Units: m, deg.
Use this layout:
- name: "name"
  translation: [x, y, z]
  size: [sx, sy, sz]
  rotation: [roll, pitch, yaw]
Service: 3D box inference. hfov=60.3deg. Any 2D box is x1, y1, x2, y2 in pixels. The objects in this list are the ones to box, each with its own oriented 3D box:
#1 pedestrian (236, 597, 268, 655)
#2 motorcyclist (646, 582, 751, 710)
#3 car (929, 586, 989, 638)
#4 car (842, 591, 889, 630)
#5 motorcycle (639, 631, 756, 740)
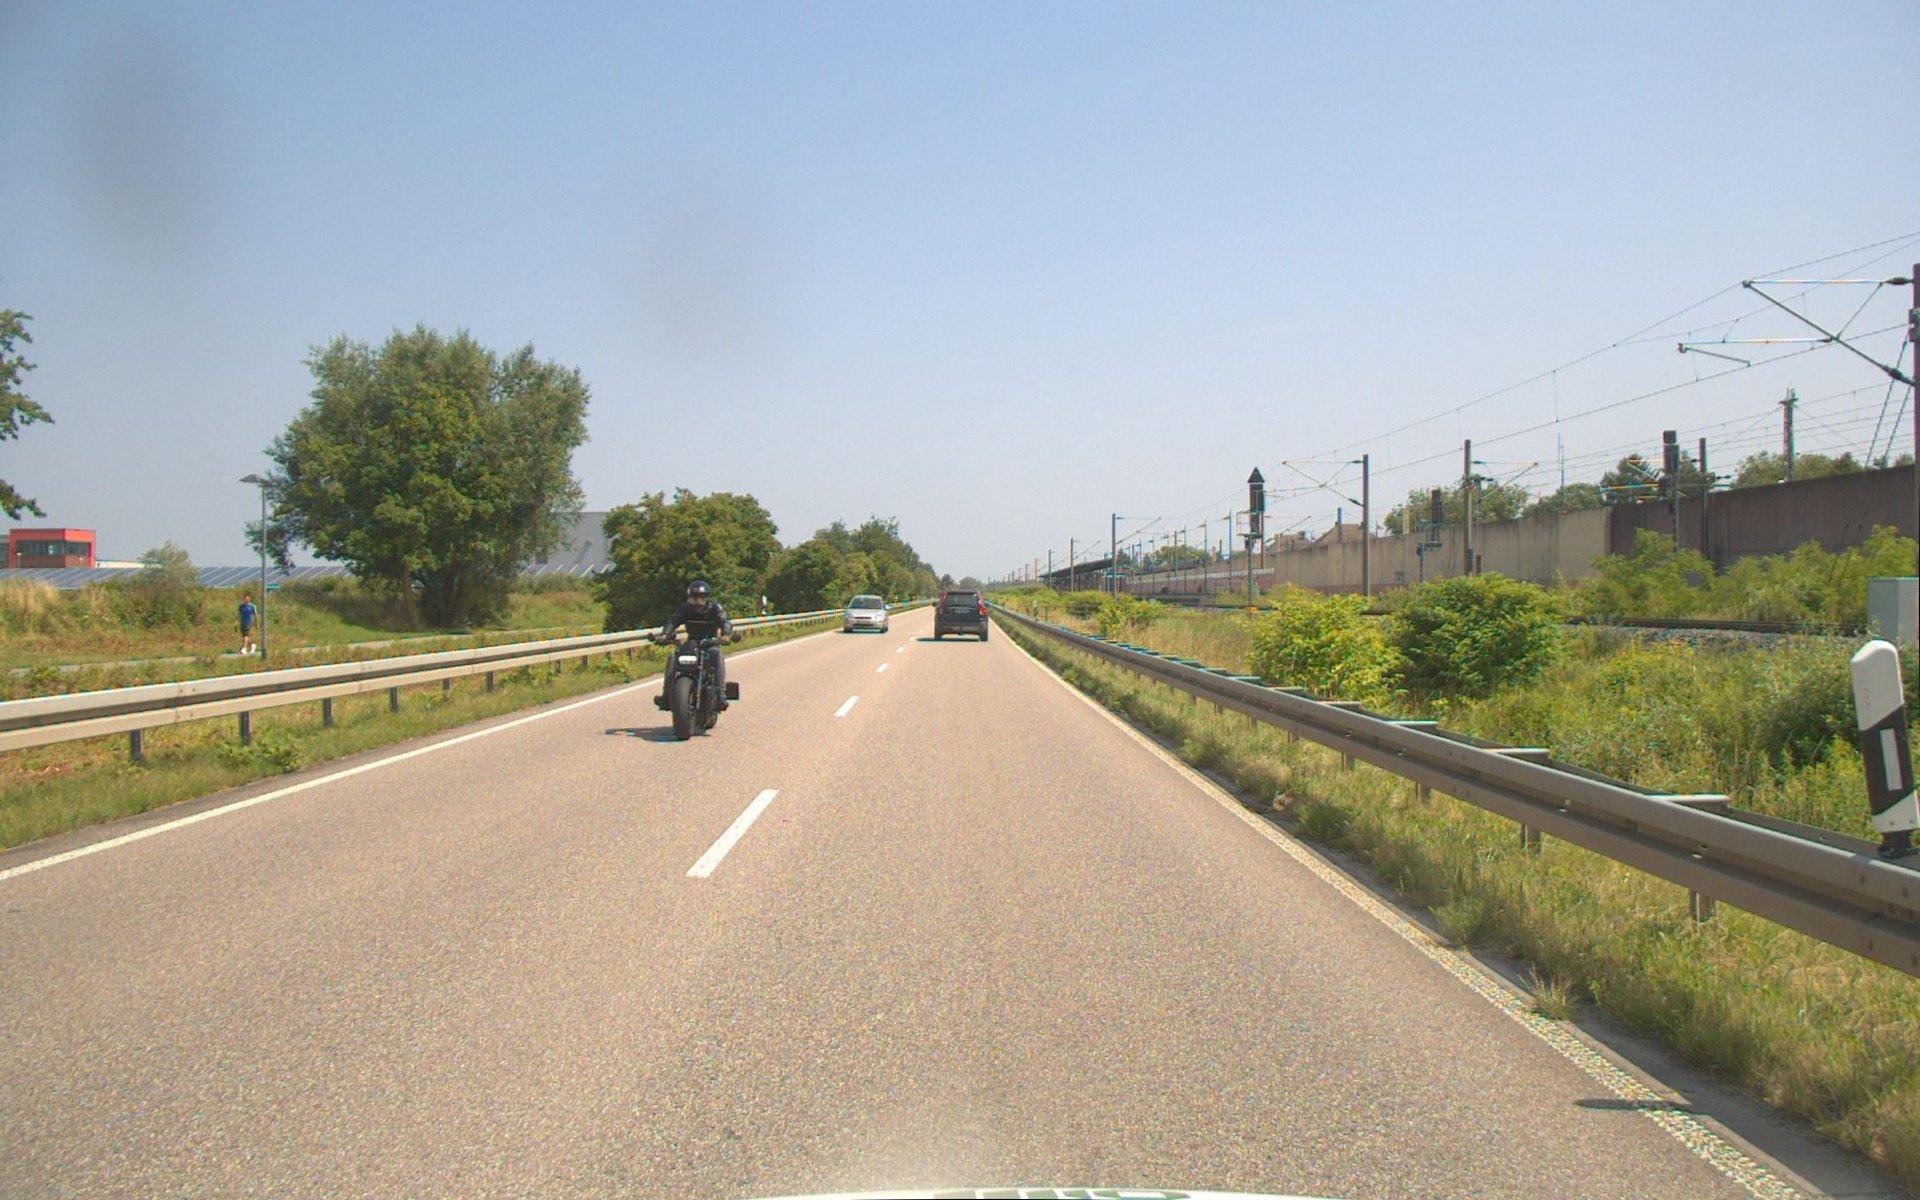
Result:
- name: "pedestrian"
  translation: [-21.895, 0.799, 51.168]
  size: [0.566, 1.780, 0.821]
  rotation: [-2, 0, 4]
- name: "motorcyclist"
  translation: [-2.821, 0.487, 17.956]
  size: [0.973, 1.332, 0.935]
  rotation: [1, 0, -1]
- name: "car"
  translation: [-0.080, 0.404, 57.538]
  size: [1.953, 1.730, 3.998]
  rotation: [0, 0, -2]
- name: "car"
  translation: [-3.830, 0.412, 67.812]
  size: [1.663, 1.500, 4.686]
  rotation: [1, 0, 0]
- name: "motorcycle"
  translation: [-2.822, 0.895, 18.035]
  size: [0.909, 1.046, 2.268]
  rotation: [1, 0, 0]
